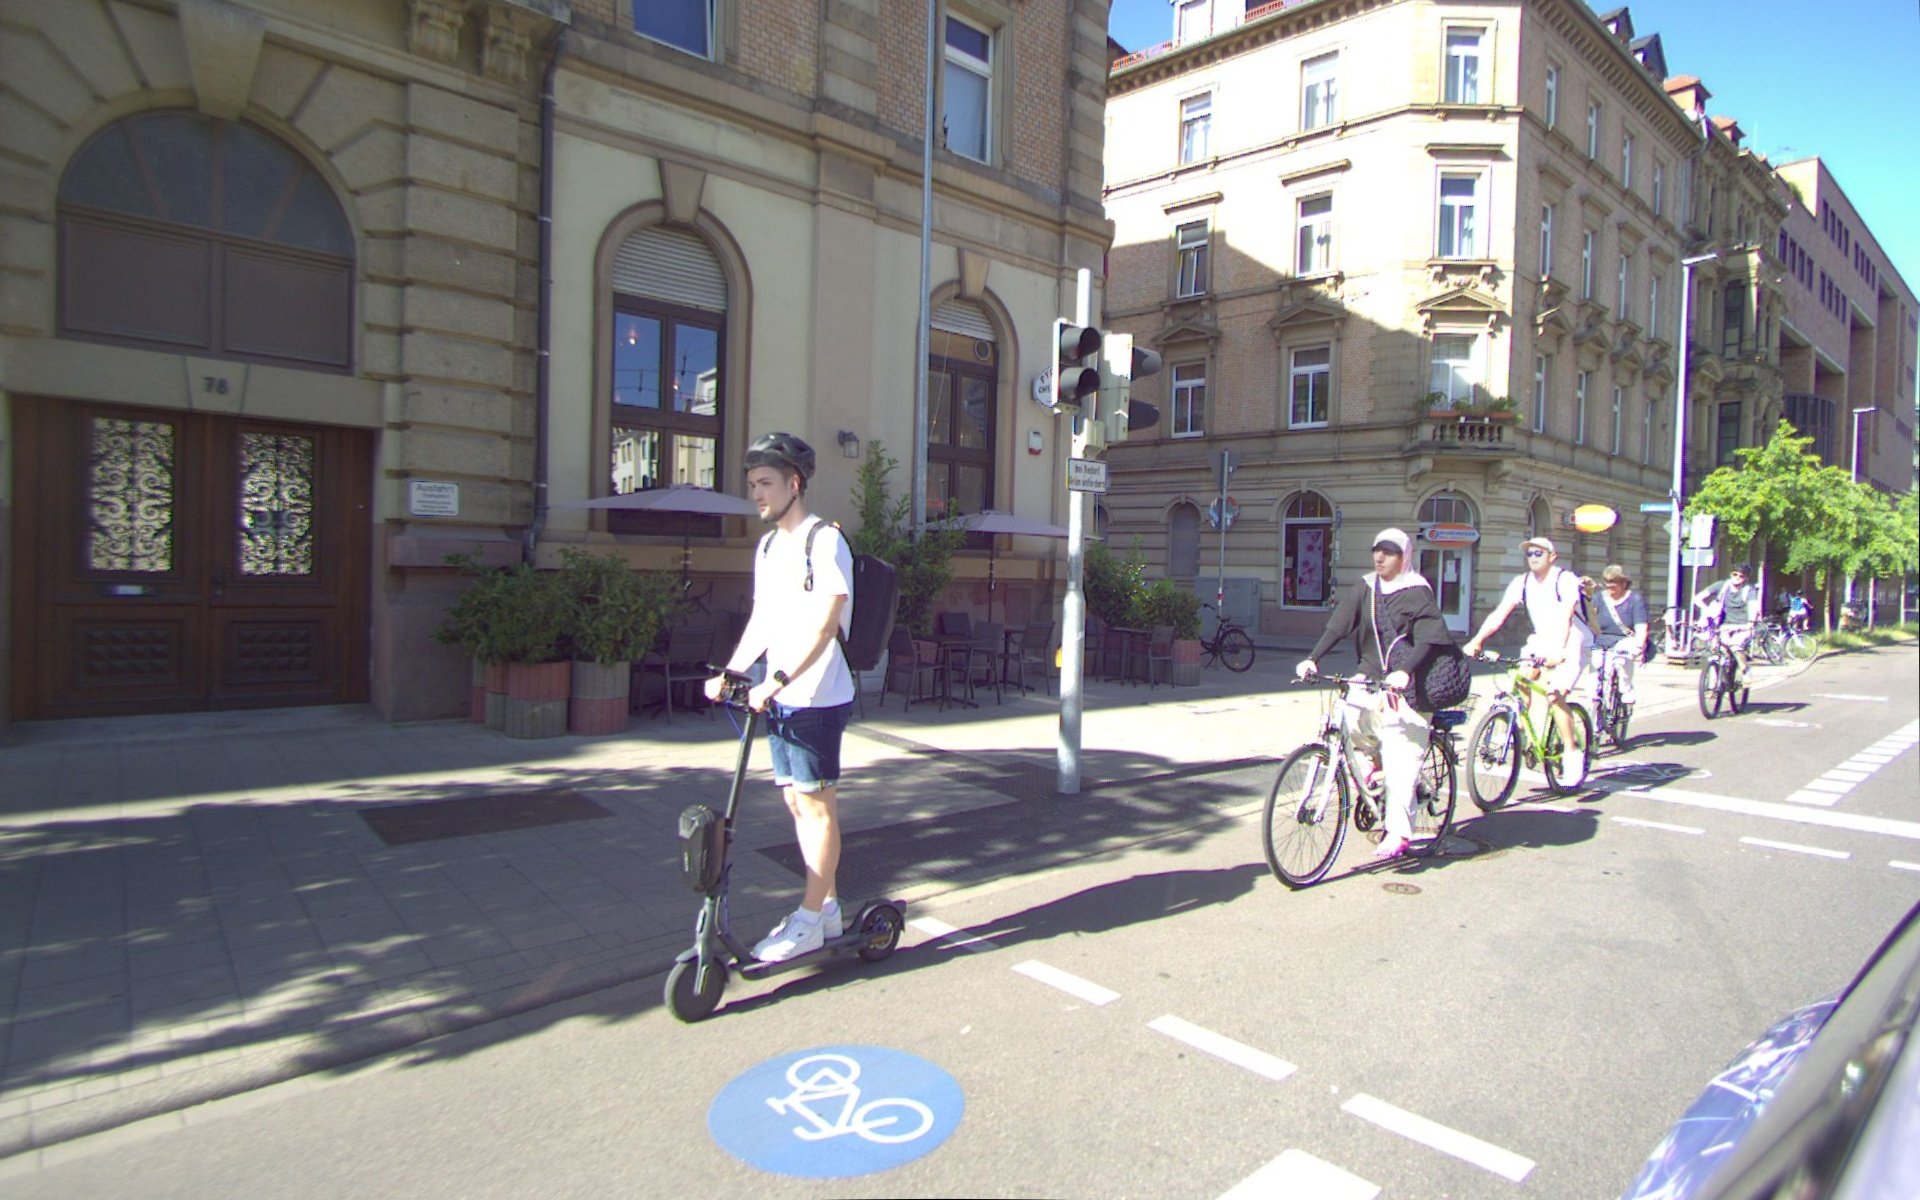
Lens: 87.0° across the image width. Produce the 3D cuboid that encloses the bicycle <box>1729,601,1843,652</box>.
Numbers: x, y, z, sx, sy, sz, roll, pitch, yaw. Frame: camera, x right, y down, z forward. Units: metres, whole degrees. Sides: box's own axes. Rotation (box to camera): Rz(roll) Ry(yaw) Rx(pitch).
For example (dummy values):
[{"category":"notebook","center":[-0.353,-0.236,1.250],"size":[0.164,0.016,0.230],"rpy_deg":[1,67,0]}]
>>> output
[{"category":"bicycle","center":[20.876,0.645,25.614],"size":[0.833,1.054,2.062],"rpy_deg":[-1,5,-41]}]

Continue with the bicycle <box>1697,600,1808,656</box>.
[{"category":"bicycle","center":[17.928,0.609,22.921],"size":[0.598,1.061,1.873],"rpy_deg":[-1,5,-45]}]

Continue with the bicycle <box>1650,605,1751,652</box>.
[{"category":"bicycle","center":[16.354,0.613,22.378],"size":[0.488,0.936,1.717],"rpy_deg":[-1,2,-40]}]

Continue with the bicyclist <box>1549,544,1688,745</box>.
[{"category":"bicyclist","center":[6.138,0.379,9.436],"size":[0.971,1.748,0.853],"rpy_deg":[0,0,-41]}]

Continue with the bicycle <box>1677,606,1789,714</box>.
[{"category":"bicycle","center":[9.524,0.690,12.445],"size":[1.918,1.209,0.724],"rpy_deg":[0,0,-41]}]

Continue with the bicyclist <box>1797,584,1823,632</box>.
[{"category":"bicyclist","center":[29.477,0.269,35.098],"size":[0.781,1.637,0.578],"rpy_deg":[-1,2,-43]}]

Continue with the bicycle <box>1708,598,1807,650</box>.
[{"category":"bicycle","center":[19.637,0.568,24.945],"size":[1.115,1.074,1.677],"rpy_deg":[-1,6,-42]}]

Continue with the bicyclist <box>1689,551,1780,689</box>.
[{"category":"bicyclist","center":[9.525,0.229,12.446],"size":[0.879,1.625,0.724],"rpy_deg":[0,0,-41]}]

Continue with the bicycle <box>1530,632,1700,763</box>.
[{"category":"bicycle","center":[6.129,0.850,9.432],"size":[1.918,1.019,0.829],"rpy_deg":[0,0,-41]}]

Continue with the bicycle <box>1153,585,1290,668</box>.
[{"category":"bicycle","center":[4.385,0.418,17.175],"size":[0.801,1.247,2.221],"rpy_deg":[4,0,-34]}]

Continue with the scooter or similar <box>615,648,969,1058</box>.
[{"category":"scooter or similar","center":[-0.585,0.802,3.720],"size":[0.645,1.173,1.132],"rpy_deg":[1,1,44]}]

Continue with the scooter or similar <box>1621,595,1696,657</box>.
[{"category":"scooter or similar","center":[14.607,0.524,21.174],"size":[0.479,1.212,1.197],"rpy_deg":[0,2,-44]}]

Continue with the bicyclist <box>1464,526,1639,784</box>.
[{"category":"bicyclist","center":[4.155,0.351,7.113],"size":[0.958,1.677,0.701],"rpy_deg":[0,0,-32]}]

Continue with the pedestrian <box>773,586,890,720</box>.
[{"category":"pedestrian","center":[-1.242,0.473,9.763],"size":[0.866,1.197,0.719],"rpy_deg":[-1,2,-41]}]

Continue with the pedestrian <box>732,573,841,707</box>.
[{"category":"pedestrian","center":[-1.800,0.377,10.497],"size":[0.872,1.298,0.726],"rpy_deg":[-1,2,-41]}]

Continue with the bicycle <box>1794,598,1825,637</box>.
[{"category":"bicycle","center":[29.531,0.577,35.171],"size":[2.062,1.268,0.578],"rpy_deg":[-1,3,-43]}]

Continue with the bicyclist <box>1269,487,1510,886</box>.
[{"category":"bicyclist","center":[2.248,0.394,5.283],"size":[1.071,1.840,0.725],"rpy_deg":[0,0,-38]}]

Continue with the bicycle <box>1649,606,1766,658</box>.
[{"category":"bicycle","center":[16.049,0.667,21.775],"size":[0.580,0.922,1.911],"rpy_deg":[-1,4,-31]}]

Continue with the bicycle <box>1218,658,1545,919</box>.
[{"category":"bicycle","center":[2.247,0.873,5.284],"size":[1.916,1.019,0.725],"rpy_deg":[0,0,-38]}]

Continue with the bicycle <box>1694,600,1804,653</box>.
[{"category":"bicycle","center":[18.822,0.603,24.166],"size":[1.013,1.043,1.901],"rpy_deg":[-1,5,-43]}]

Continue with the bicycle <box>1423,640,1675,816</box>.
[{"category":"bicycle","center":[4.170,0.832,7.121],"size":[1.914,1.019,0.726],"rpy_deg":[0,0,-32]}]

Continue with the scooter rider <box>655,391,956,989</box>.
[{"category":"scooter rider","center":[-0.559,0.277,3.748],"size":[0.661,1.890,0.883],"rpy_deg":[0,0,44]}]
